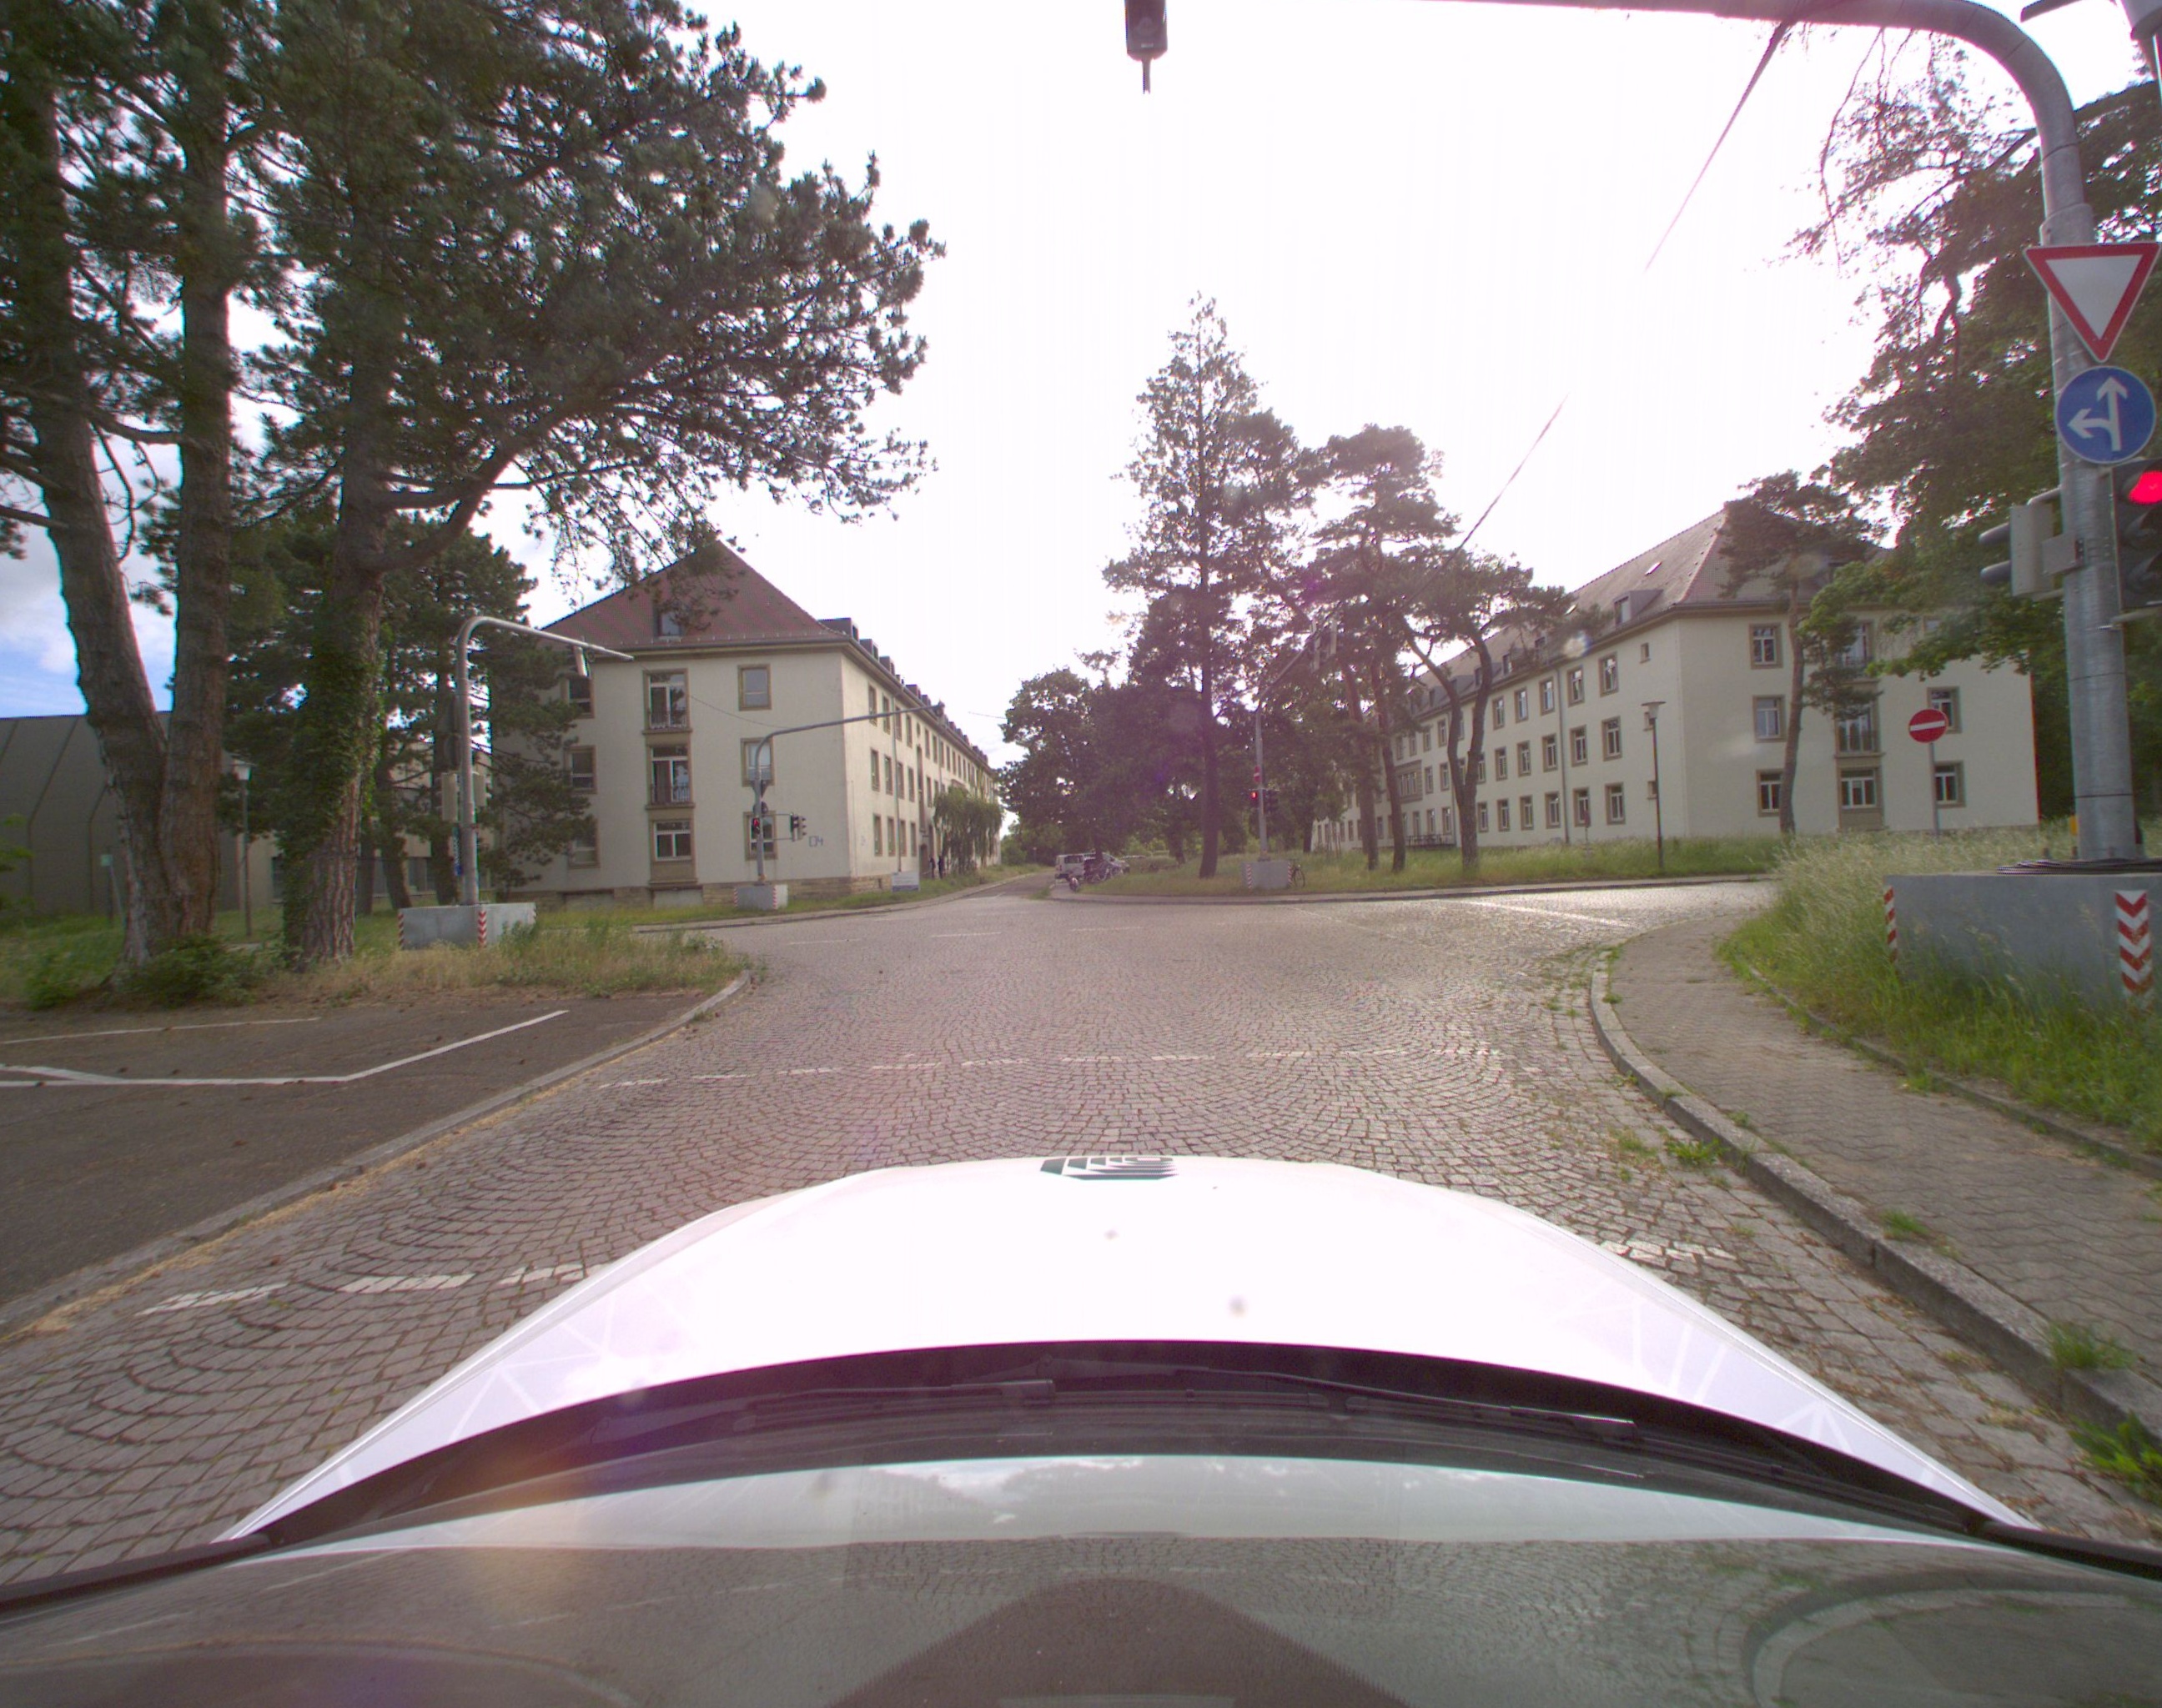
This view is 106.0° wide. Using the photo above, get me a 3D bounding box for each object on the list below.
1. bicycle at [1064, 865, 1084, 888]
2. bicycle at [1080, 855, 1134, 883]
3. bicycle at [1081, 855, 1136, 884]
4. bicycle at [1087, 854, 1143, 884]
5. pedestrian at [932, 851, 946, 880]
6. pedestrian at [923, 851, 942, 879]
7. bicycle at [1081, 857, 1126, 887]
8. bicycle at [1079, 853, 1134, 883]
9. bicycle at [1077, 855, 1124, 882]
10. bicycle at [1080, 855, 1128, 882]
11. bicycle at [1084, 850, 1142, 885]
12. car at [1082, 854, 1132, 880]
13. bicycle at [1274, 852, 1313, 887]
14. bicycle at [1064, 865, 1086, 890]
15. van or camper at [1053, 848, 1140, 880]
[{"bbox_3d":[-0.314,1.047,38.295,0.724,0.996,1.981,-3,0,5],"label":"bicycle"},{"bbox_3d":[1.387,0.793,43.434,2.794,1.371,0.950,-3,0,-1],"label":"bicycle"},{"bbox_3d":[1.412,0.783,42.541,2.794,1.371,0.950,-3,0,-1],"label":"bicycle"},{"bbox_3d":[1.735,0.768,42.009,2.794,1.371,0.950,-3,0,-1],"label":"bicycle"},{"bbox_3d":[-9.680,0.773,55.430,0.865,1.932,0.834,-1,-1,-12],"label":"pedestrian"},{"bbox_3d":[-9.995,0.728,54.768,1.195,1.870,1.545,-1,-1,-10],"label":"pedestrian"},{"bbox_3d":[1.066,0.870,39.592,2.106,1.306,0.874,-3,0,-1],"label":"bicycle"},{"bbox_3d":[1.250,0.696,40.206,2.611,1.367,0.874,-3,0,-1],"label":"bicycle"},{"bbox_3d":[1.074,0.801,46.073,2.561,1.371,0.950,-3,0,-2],"label":"bicycle"},{"bbox_3d":[1.243,0.779,44.396,2.561,1.371,0.950,-3,0,-2],"label":"bicycle"},{"bbox_3d":[1.598,0.667,41.078,2.794,1.583,0.950,-3,0,-1],"label":"bicycle"},{"bbox_3d":[1.673,0.831,54.201,3.215,1.621,1.937,-2,-1,-1],"label":"car"},{"bbox_3d":[7.163,0.513,27.539,0.643,1.062,1.832,-6,0,-3],"label":"bicycle"},{"bbox_3d":[-0.249,1.022,36.204,0.898,0.996,1.978,-3,0,-1],"label":"bicycle"},{"bbox_3d":[1.097,0.706,57.717,5.747,1.957,2.228,-3,0,-13],"label":"van or camper"}]
